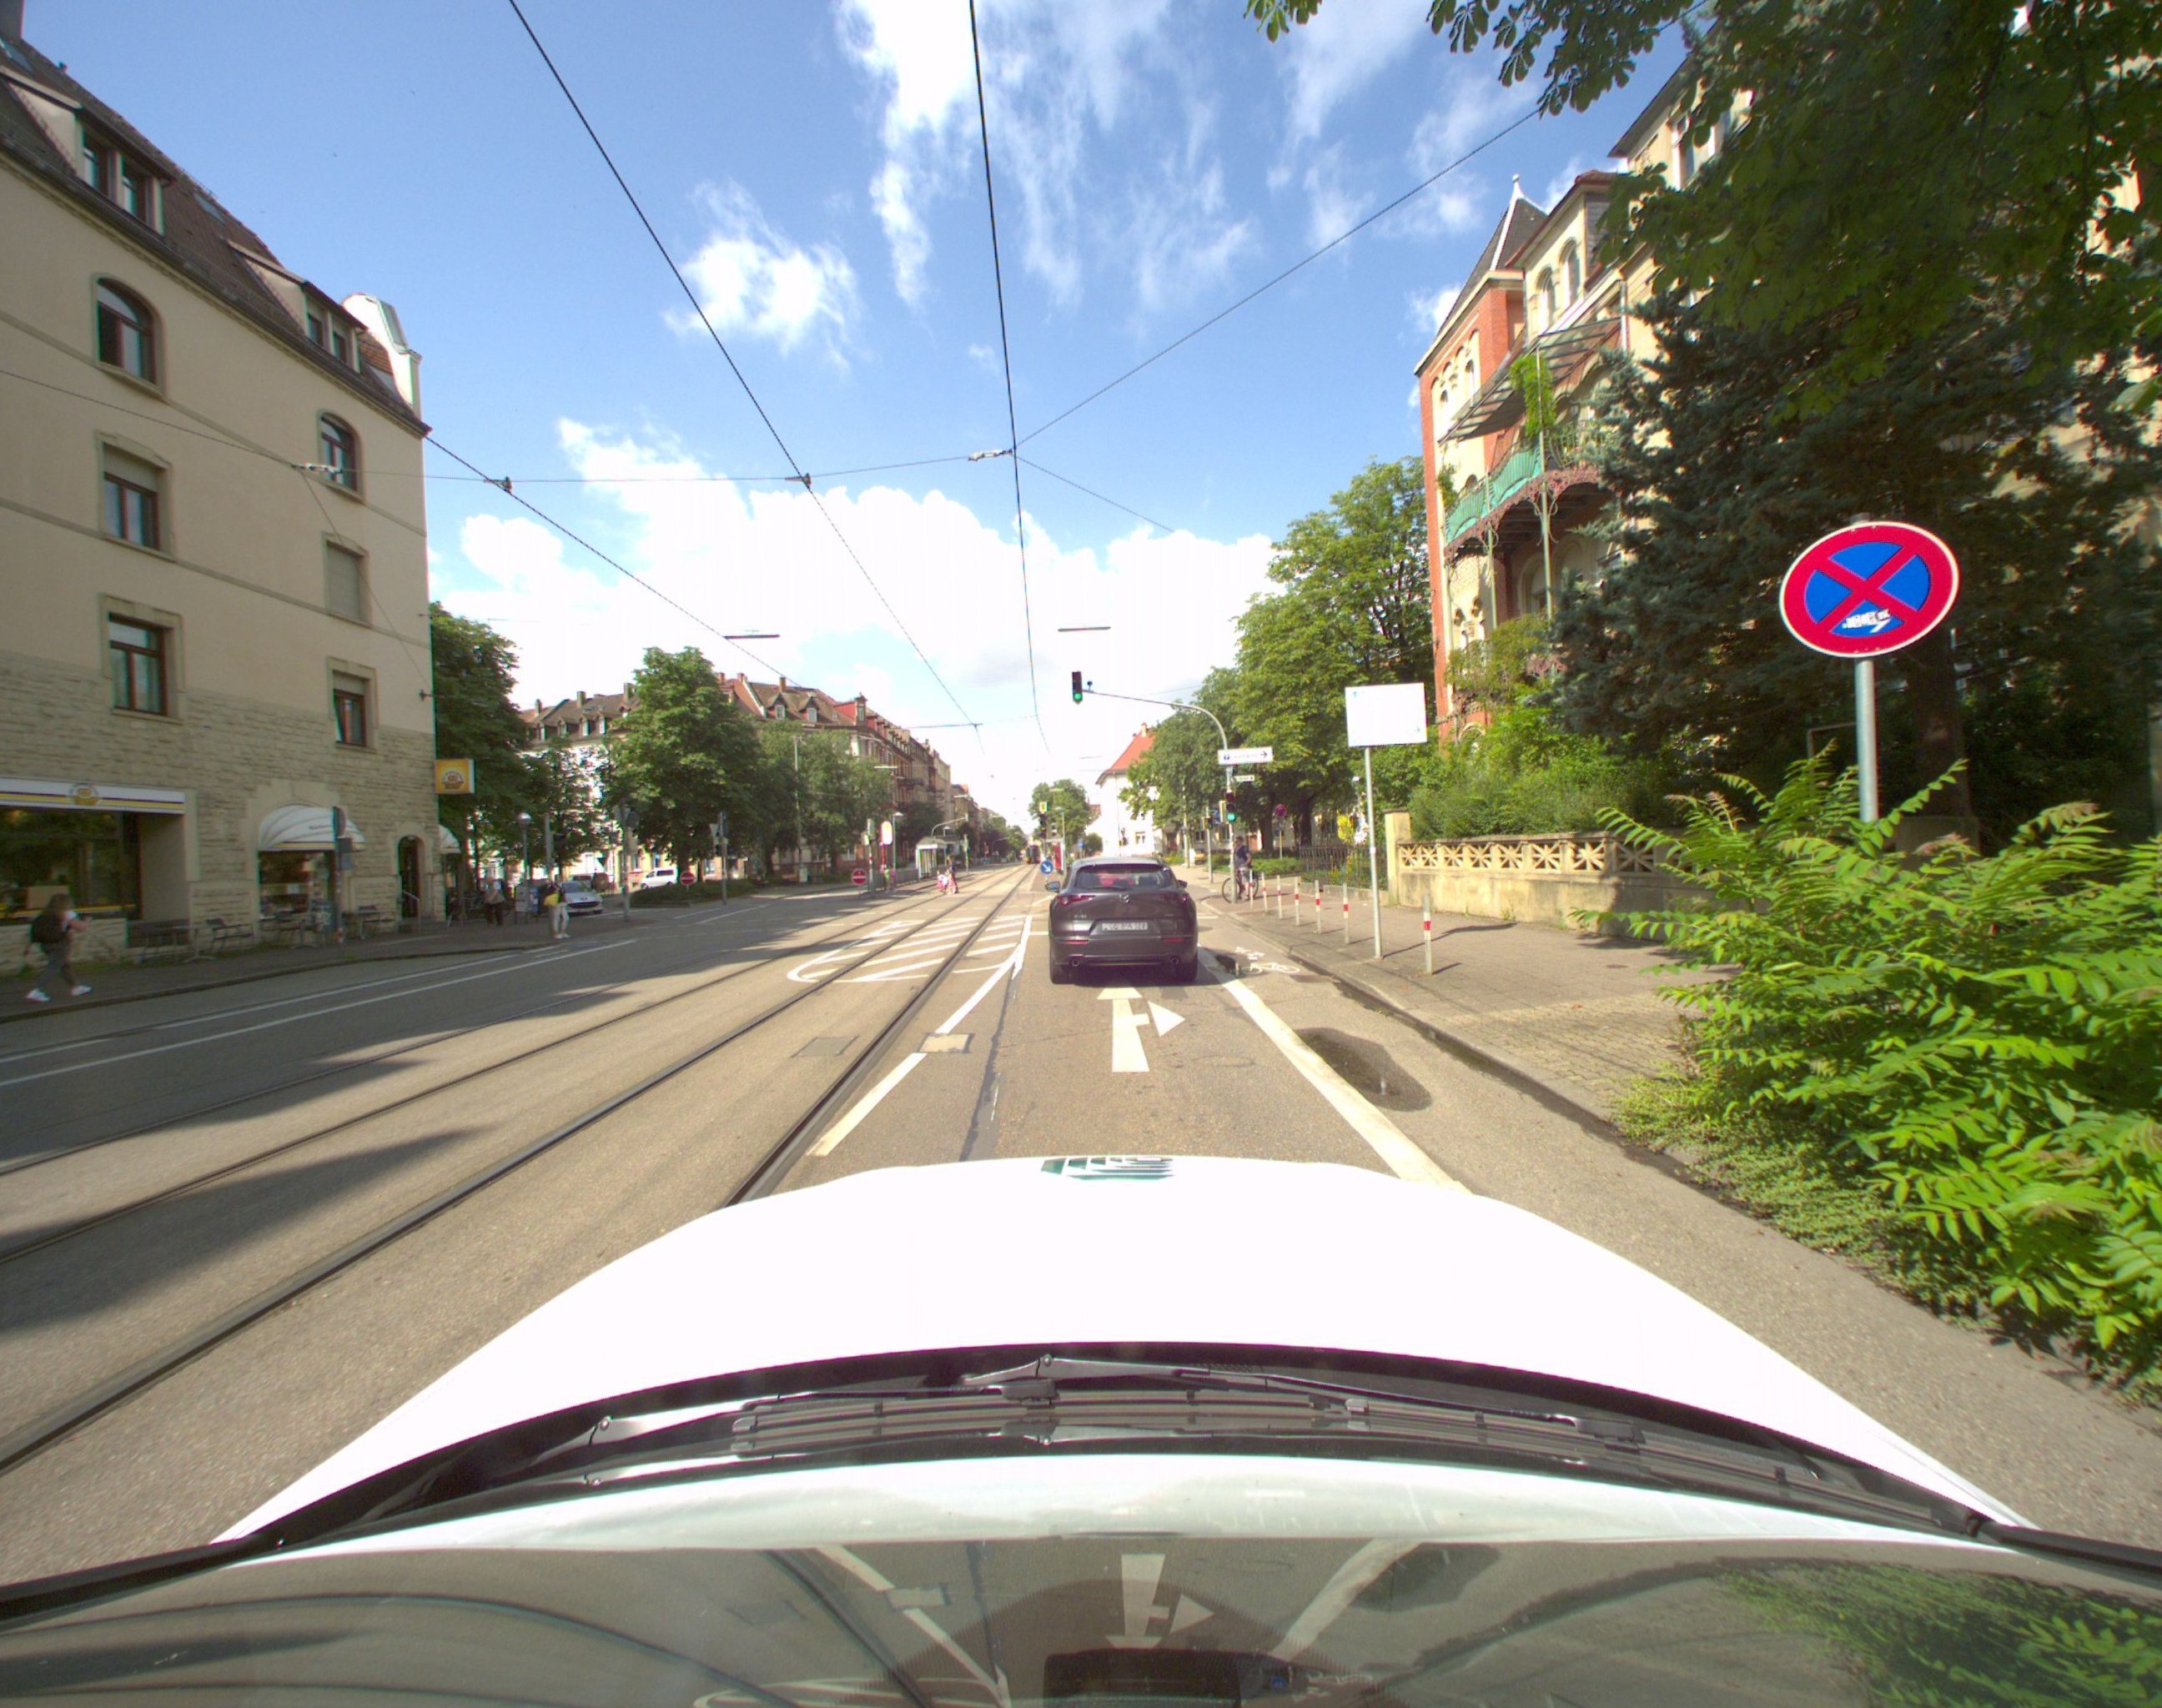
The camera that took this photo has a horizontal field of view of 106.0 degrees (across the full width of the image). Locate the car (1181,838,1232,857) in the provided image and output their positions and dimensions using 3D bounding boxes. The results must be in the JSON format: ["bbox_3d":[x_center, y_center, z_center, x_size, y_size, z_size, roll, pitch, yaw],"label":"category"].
[{"bbox_3d":[11.567,-0.609,75.169,4.118,1.509,1.864,-3,1,40],"label":"car"}]

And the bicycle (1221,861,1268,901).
[{"bbox_3d":[4.700,0.763,23.359,0.385,1.035,1.857,-3,0,42],"label":"bicycle"}]

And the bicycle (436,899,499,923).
[{"bbox_3d":[-25.689,2.373,34.138,0.505,0.882,2.043,-3,-2,44],"label":"bicycle"}]

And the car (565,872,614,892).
[{"bbox_3d":[-47.014,2.656,77.955,3.895,1.663,1.926,-3,0,20],"label":"car"}]

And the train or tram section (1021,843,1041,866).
[{"bbox_3d":[-9.424,0.188,154.448,2.989,3.983,13.799,-3,-1,-1],"label":"train or tram section"}]

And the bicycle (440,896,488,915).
[{"bbox_3d":[-33.726,2.799,44.526,2.037,0.898,0.566,-1,-1,-30],"label":"bicycle"}]

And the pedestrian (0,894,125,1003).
[{"bbox_3d":[-15.459,1.409,12.385,0.694,1.541,0.960,1,0,-11],"label":"pedestrian"}]

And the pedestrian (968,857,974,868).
[{"bbox_3d":[-17.106,1.280,126.466,0.785,1.688,0.732,-3,0,-1],"label":"pedestrian"}]

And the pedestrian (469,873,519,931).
[{"bbox_3d":[-17.898,1.447,24.863,0.852,1.672,0.821,-3,0,-2],"label":"pedestrian"}]

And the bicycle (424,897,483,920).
[{"bbox_3d":[-28.647,2.477,37.194,0.539,0.882,2.043,-3,-2,44],"label":"bicycle"}]

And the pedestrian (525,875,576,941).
[{"bbox_3d":[-14.160,1.432,21.774,0.754,1.704,0.873,1,0,-3],"label":"pedestrian"}]

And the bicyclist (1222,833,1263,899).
[{"bbox_3d":[4.610,0.339,23.266,0.736,1.819,0.814,-3,0,-25],"label":"bicyclist"}]

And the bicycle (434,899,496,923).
[{"bbox_3d":[-26.494,2.438,35.059,0.505,0.882,2.043,-3,-2,44],"label":"bicycle"}]

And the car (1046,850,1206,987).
[{"bbox_3d":[0.570,0.737,11.133,1.775,1.514,4.001,-1,0,2],"label":"car"}]

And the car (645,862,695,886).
[{"bbox_3d":[-37.712,1.865,74.740,3.901,1.988,1.866,-3,0,21],"label":"car"}]

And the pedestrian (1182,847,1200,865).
[{"bbox_3d":[8.351,0.180,61.944,1.191,1.269,0.556,-5,0,-8],"label":"pedestrian"}]

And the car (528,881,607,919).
[{"bbox_3d":[-21.524,1.922,34.101,3.823,1.420,1.732,-3,0,41],"label":"car"}]

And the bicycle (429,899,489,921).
[{"bbox_3d":[-27.472,2.461,35.970,0.505,0.882,2.043,-3,-2,44],"label":"bicycle"}]

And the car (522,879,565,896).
[{"bbox_3d":[-52.326,3.253,79.312,3.652,1.393,1.501,-3,0,18],"label":"car"}]

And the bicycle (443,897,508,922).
[{"bbox_3d":[-24.696,2.258,33.253,0.516,0.882,2.043,-3,-2,44],"label":"bicycle"}]

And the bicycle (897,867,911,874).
[{"bbox_3d":[-19.773,1.851,91.172,0.381,0.747,1.722,-3,0,33],"label":"bicycle"}]

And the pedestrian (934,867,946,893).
[{"bbox_3d":[-6.423,1.184,37.024,0.437,1.108,0.422,-5,0,-7],"label":"pedestrian"}]

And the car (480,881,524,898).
[{"bbox_3d":[-57.502,3.501,80.893,3.606,1.494,1.638,-3,0,18],"label":"car"}]

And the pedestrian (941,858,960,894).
[{"bbox_3d":[-5.848,0.959,36.421,0.727,1.565,0.797,-3,0,-7],"label":"pedestrian"}]

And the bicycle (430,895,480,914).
[{"bbox_3d":[-32.148,2.589,41.851,2.040,0.898,0.566,-1,-1,-36],"label":"bicycle"}]

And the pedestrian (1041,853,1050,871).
[{"bbox_3d":[-3.324,0.765,76.899,0.769,1.674,0.667,-3,0,-3],"label":"pedestrian"}]

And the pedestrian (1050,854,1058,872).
[{"bbox_3d":[-2.522,0.831,75.071,0.666,1.546,0.580,-3,0,-3],"label":"pedestrian"}]

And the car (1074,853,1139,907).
[{"bbox_3d":[0.736,0.721,24.488,1.769,1.464,3.843,-1,0,1],"label":"car"}]

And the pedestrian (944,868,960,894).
[{"bbox_3d":[-5.678,1.181,35.832,0.640,1.114,0.442,-3,0,-7],"label":"pedestrian"}]

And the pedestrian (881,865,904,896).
[{"bbox_3d":[-8.525,1.202,36.880,0.825,1.303,0.715,-5,0,-7],"label":"pedestrian"}]
